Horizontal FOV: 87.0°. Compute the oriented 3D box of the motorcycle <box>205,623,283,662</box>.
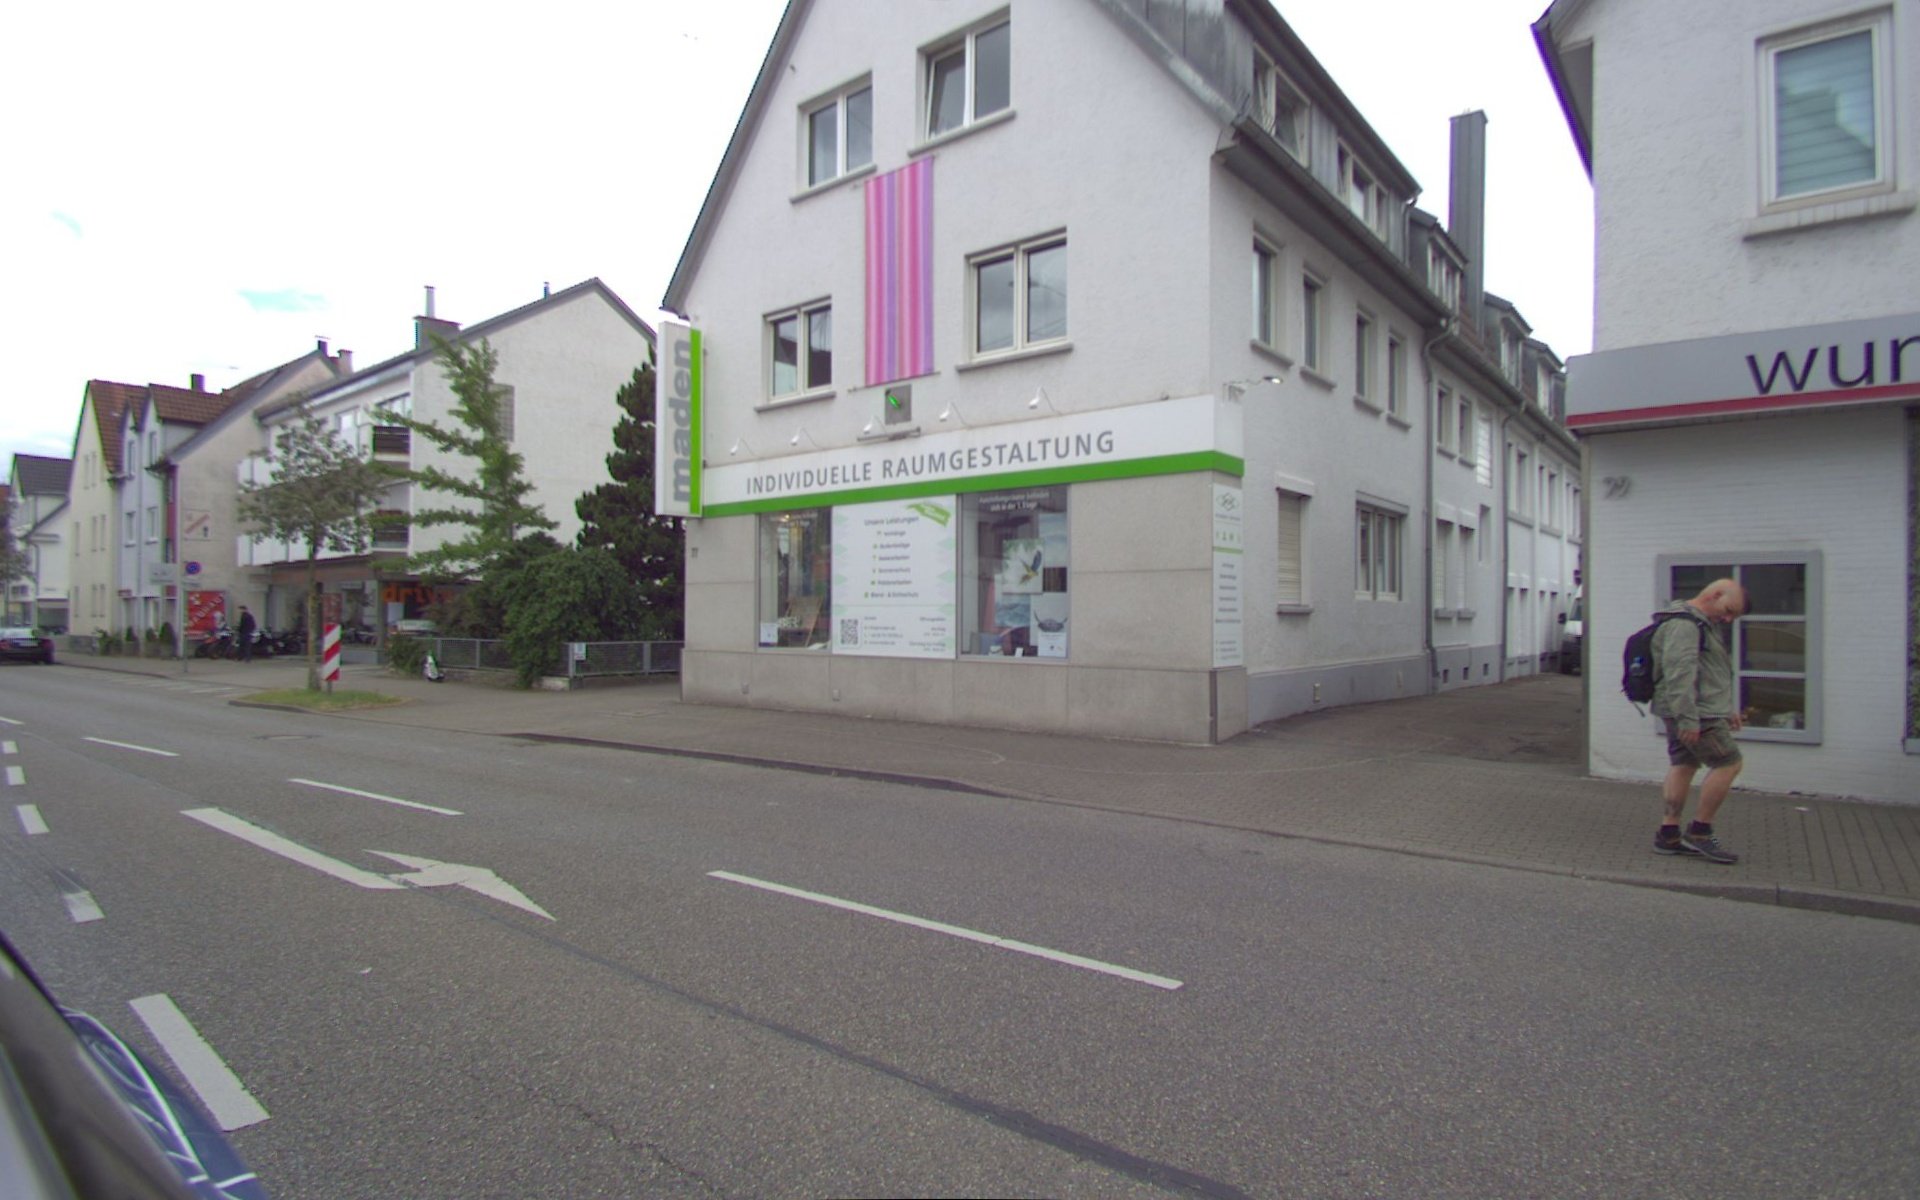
[{"bbox_3d":[-26.254,1.539,37.141,0.698,1.275,2.204,-1,1,38],"label":"motorcycle"}]

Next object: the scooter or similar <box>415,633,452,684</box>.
[{"bbox_3d":[-11.991,1.308,23.032,1.179,1.120,0.336,-1,-1,41],"label":"scooter or similar"}]

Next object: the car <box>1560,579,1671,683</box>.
[{"bbox_3d":[18.167,0.741,27.906,1.957,2.527,5.918,2,1,38],"label":"car"}]

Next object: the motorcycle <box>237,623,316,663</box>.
[{"bbox_3d":[-24.168,1.500,35.809,0.612,1.275,2.204,-1,1,38],"label":"motorcycle"}]

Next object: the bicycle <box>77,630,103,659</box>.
[{"bbox_3d":[-37.657,1.907,43.803,2.022,1.205,0.509,-1,-1,39],"label":"bicycle"}]

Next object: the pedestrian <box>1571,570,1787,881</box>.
[{"bbox_3d":[4.492,0.708,6.327,1.019,1.756,0.744,-1,1,40],"label":"pedestrian"}]

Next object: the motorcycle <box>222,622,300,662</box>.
[{"bbox_3d":[-25.453,1.512,36.893,0.612,1.275,2.204,-1,1,38],"label":"motorcycle"}]

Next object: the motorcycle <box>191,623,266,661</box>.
[{"bbox_3d":[-27.498,1.547,38.077,0.612,1.275,2.204,-1,1,38],"label":"motorcycle"}]

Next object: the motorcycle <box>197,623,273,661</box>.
[{"bbox_3d":[-26.919,1.536,37.618,0.612,1.275,2.204,-1,1,38],"label":"motorcycle"}]

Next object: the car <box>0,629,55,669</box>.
[{"bbox_3d":[-36.146,1.838,38.610,4.337,1.428,1.770,-1,-2,39],"label":"car"}]

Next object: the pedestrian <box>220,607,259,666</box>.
[{"bbox_3d":[-23.757,1.204,33.353,1.019,1.863,0.744,-1,2,40],"label":"pedestrian"}]

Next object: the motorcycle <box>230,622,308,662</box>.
[{"bbox_3d":[-24.834,1.500,36.386,0.612,1.275,2.204,-1,1,38],"label":"motorcycle"}]
